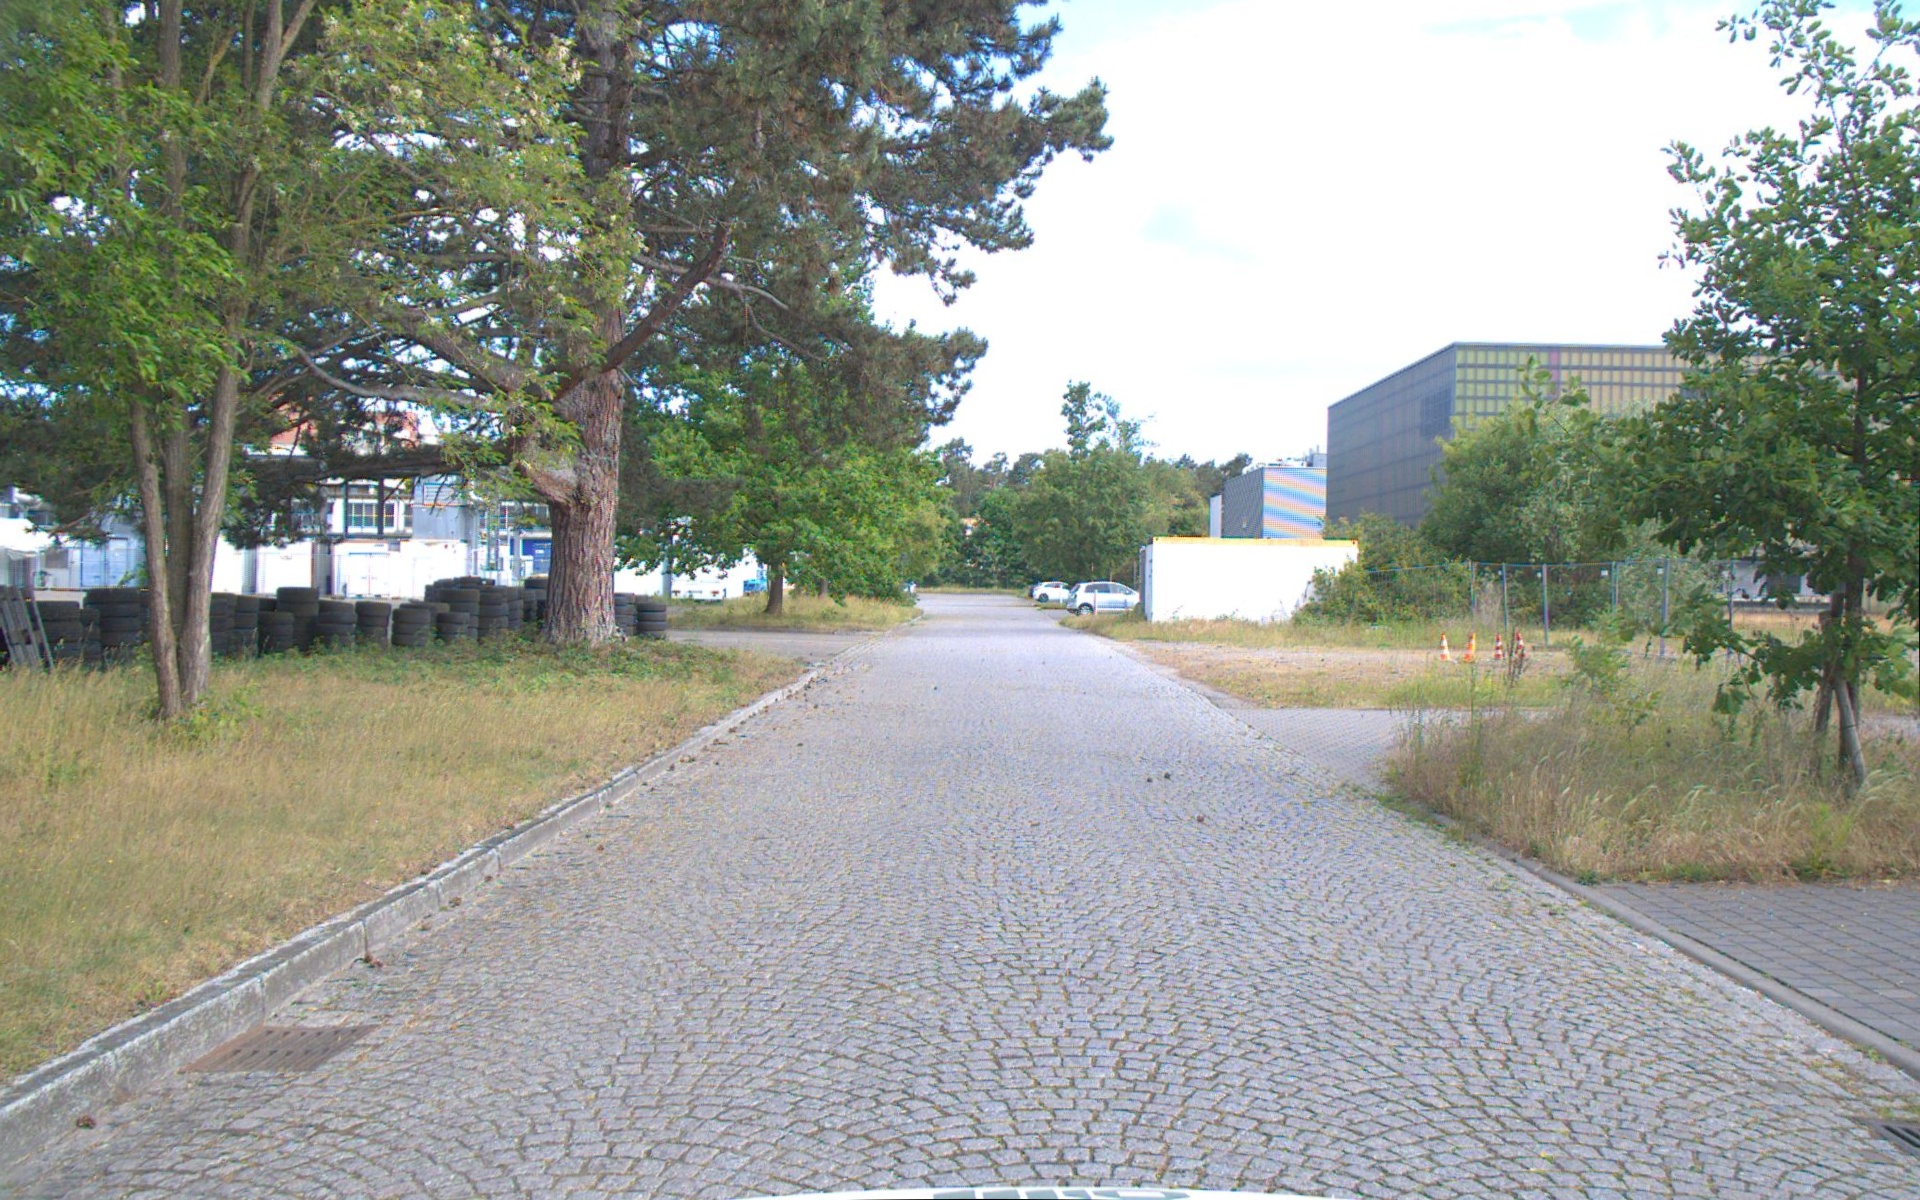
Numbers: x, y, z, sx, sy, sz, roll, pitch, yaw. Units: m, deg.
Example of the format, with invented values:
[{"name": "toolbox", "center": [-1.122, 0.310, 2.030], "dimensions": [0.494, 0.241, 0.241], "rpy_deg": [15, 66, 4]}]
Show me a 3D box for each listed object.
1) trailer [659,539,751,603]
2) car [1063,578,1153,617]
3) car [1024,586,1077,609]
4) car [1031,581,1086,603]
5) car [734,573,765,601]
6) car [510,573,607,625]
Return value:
[{"name": "trailer", "center": [-13.219, -1.492, 86.630], "dimensions": [3.093, 3.121, 8.787], "rpy_deg": [1, 1, 2]}, {"name": "car", "center": [6.589, -0.123, 73.871], "dimensions": [3.772, 1.683, 1.685], "rpy_deg": [1, 0, -2]}, {"name": "car", "center": [6.869, -0.210, 125.581], "dimensions": [3.907, 1.629, 1.728], "rpy_deg": [1, 0, -2]}, {"name": "car", "center": [7.151, -0.612, 120.023], "dimensions": [3.942, 1.528, 1.548], "rpy_deg": [1, 0, 1]}, {"name": "car", "center": [-16.153, -1.003, 127.277], "dimensions": [1.886, 2.083, 4.599], "rpy_deg": [1, 0, -2]}, {"name": "car", "center": [-11.888, -0.036, 49.174], "dimensions": [1.729, 1.478, 3.491], "rpy_deg": [1, 0, 6]}]
